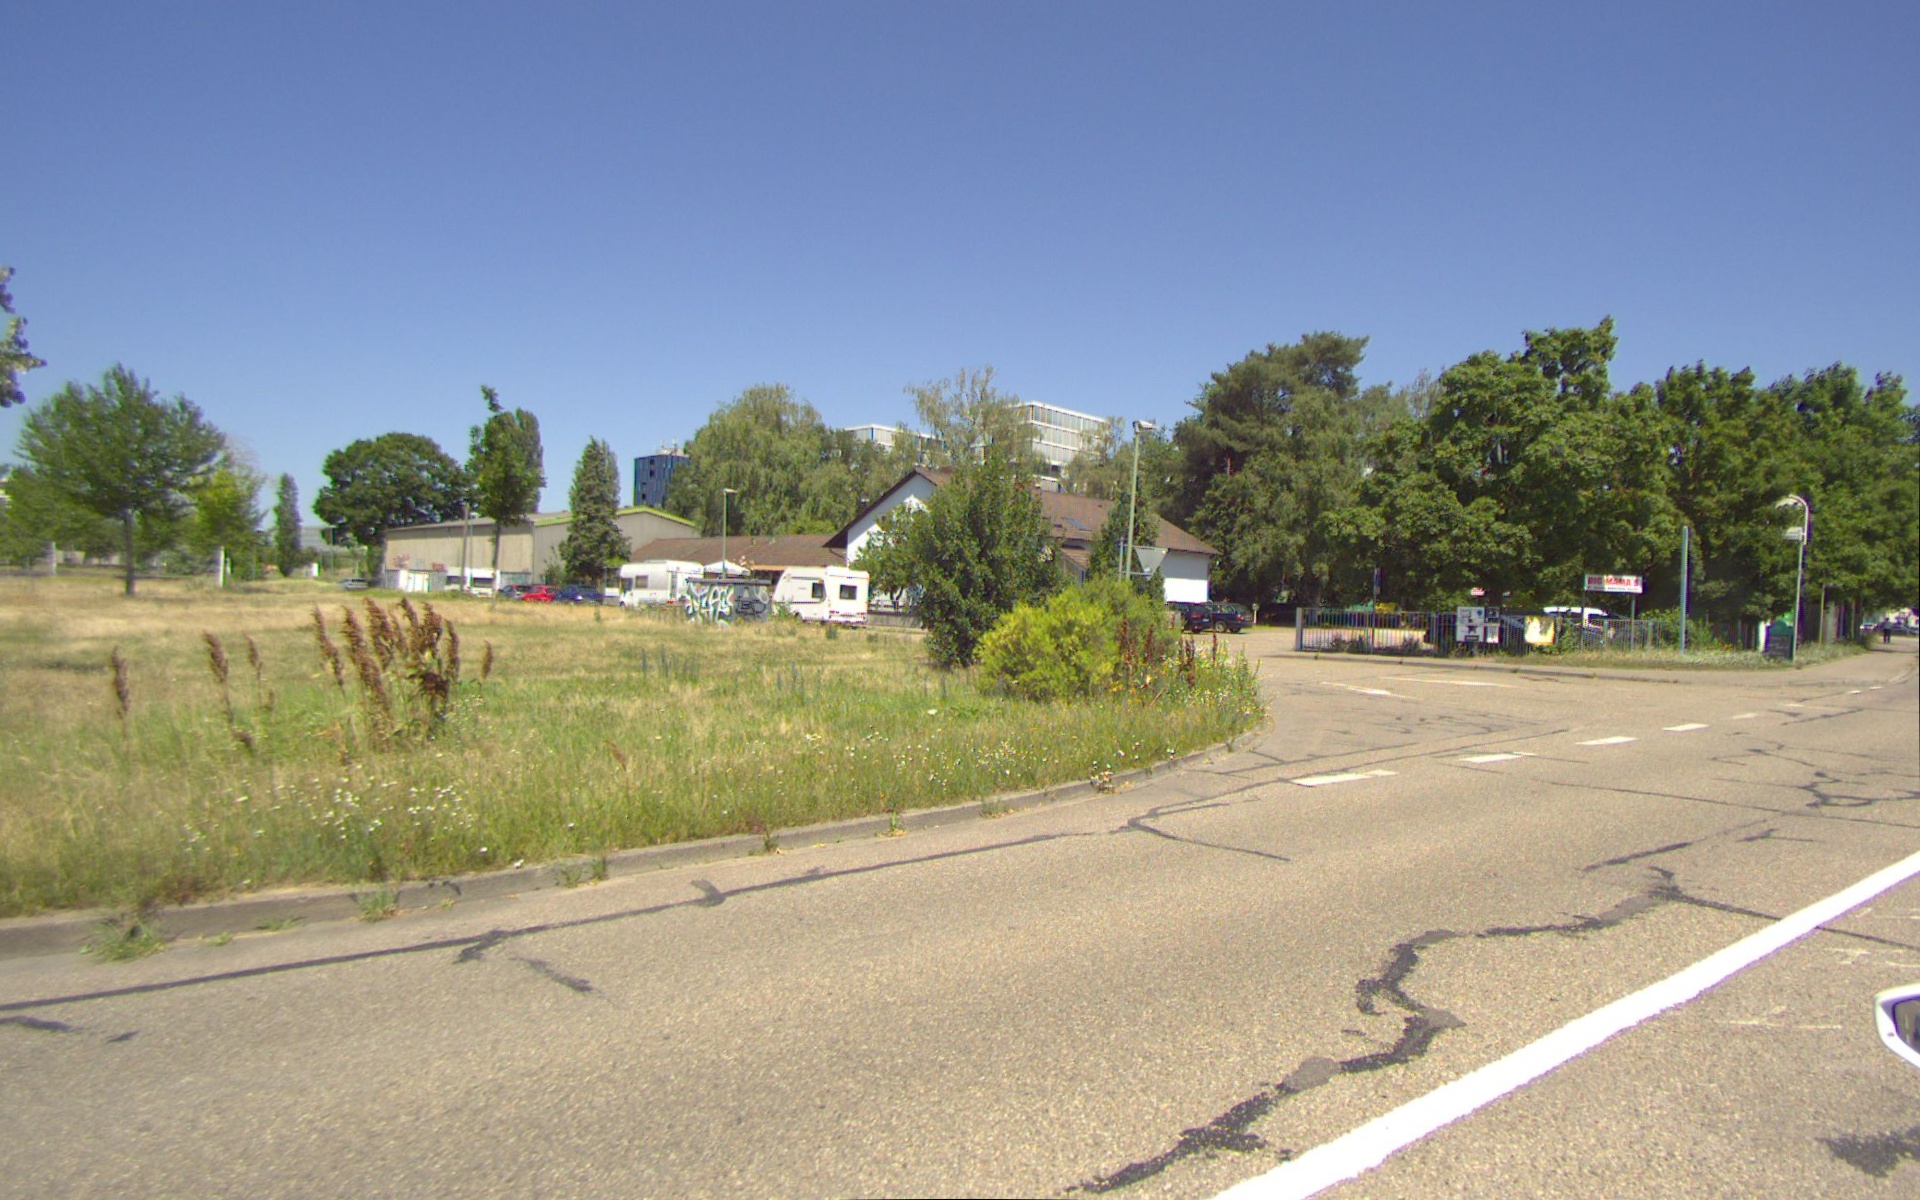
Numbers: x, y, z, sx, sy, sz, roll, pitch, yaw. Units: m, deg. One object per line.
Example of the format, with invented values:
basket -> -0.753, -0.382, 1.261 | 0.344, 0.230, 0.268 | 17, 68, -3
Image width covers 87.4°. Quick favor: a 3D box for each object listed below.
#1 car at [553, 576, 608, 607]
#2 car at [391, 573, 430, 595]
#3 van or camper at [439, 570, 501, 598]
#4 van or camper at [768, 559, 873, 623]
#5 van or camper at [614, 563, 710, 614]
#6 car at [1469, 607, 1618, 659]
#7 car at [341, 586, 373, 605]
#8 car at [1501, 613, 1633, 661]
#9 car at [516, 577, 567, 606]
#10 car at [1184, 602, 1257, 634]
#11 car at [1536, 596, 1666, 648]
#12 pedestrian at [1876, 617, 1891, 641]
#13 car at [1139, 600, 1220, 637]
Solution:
car -> -23.344, -0.530, 61.732 | 3.528, 1.795, 1.748 | 2, 0, 42
car -> -45.603, -1.334, 83.394 | 3.528, 1.795, 1.748 | 2, 0, 42
van or camper -> -35.977, -1.197, 73.681 | 4.986, 1.905, 2.346 | 2, 0, 42
van or camper -> -6.333, -0.435, 45.449 | 2.476, 2.626, 4.406 | 1, 2, -45
van or camper -> -16.552, -0.676, 55.572 | 5.887, 2.628, 2.457 | 2, 0, 44
car -> 23.561, 1.310, 40.718 | 1.982, 1.865, 4.786 | 2, 0, -38
car -> -56.563, -0.420, 94.222 | 3.528, 1.618, 1.583 | 2, 0, 42
car -> 22.457, 1.339, 37.257 | 1.797, 1.546, 3.825 | 2, 0, -43
car -> -27.329, -0.560, 65.558 | 3.528, 1.795, 1.748 | 2, 0, 42
car -> 12.870, 0.887, 49.713 | 1.533, 1.466, 3.102 | 1, 0, -43
car -> 26.867, 0.896, 42.184 | 1.769, 2.003, 4.267 | 1, 0, -41
pedestrian -> 66.701, 2.090, 72.574 | 0.714, 1.748, 0.814 | 2, 0, 39
car -> 10.277, 0.857, 47.085 | 1.760, 1.586, 3.302 | 1, 0, -43
